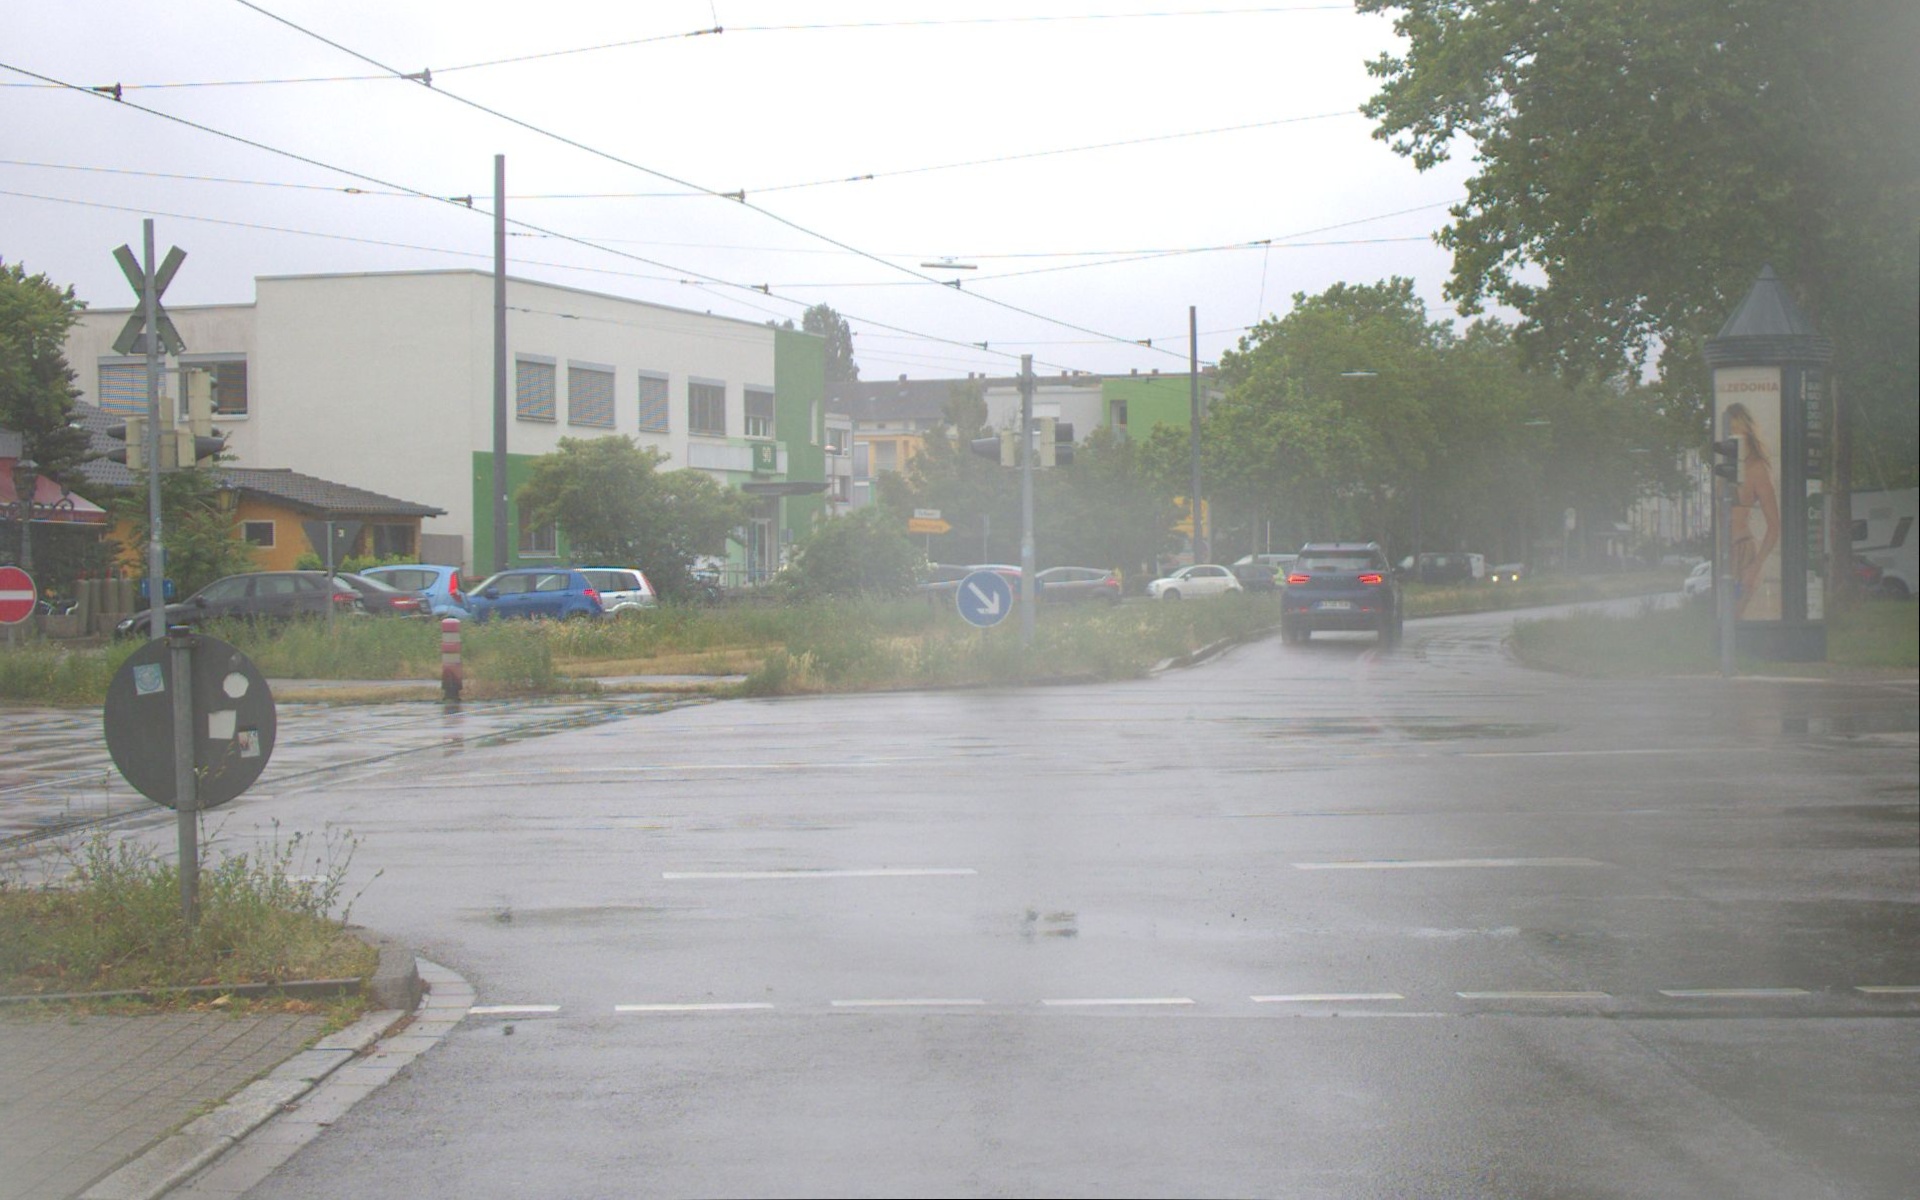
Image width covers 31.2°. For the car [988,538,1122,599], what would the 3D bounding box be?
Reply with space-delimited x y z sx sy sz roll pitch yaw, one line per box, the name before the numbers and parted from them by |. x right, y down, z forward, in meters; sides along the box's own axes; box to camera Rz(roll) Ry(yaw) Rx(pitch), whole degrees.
car | 3.027 -1.016 110.081 3.986 1.881 2.000 1 0 -7

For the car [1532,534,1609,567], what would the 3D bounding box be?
car | 35.313 -2.877 198.935 3.986 1.826 2.000 1 0 -5

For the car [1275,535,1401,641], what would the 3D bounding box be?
car | 6.367 -0.214 57.548 1.807 1.680 3.910 1 1 10

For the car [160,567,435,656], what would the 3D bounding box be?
car | -11.791 0.194 61.345 4.497 1.413 1.858 -2 0 1

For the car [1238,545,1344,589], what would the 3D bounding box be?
car | 13.949 -1.391 144.895 3.986 1.752 2.011 1 0 -11

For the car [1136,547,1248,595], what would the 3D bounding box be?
car | 8.547 -1.083 126.621 3.773 1.697 1.837 1 0 -10

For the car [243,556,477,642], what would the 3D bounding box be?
car | -11.259 -0.028 64.641 3.987 1.576 1.858 0 0 4

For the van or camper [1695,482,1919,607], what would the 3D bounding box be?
van or camper | 23.233 -1.440 89.671 7.434 3.167 3.259 1 1 22

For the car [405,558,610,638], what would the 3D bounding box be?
car | -9.203 -0.049 69.805 3.986 1.576 1.930 0 0 -11

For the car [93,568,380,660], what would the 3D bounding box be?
car | -12.383 0.228 59.004 4.477 1.413 1.858 -2 0 1

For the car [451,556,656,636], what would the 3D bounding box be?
car | -8.639 -0.094 72.927 4.107 1.635 1.930 -1 0 -14

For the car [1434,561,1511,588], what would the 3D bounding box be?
car | 27.220 -1.356 182.599 3.887 1.349 1.762 1 0 3

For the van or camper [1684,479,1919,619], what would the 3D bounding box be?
van or camper | 20.866 -1.180 80.529 7.328 3.167 3.259 1 1 18

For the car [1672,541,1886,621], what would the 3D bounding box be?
car | 18.497 -0.444 77.599 4.449 1.711 1.998 1 1 21
